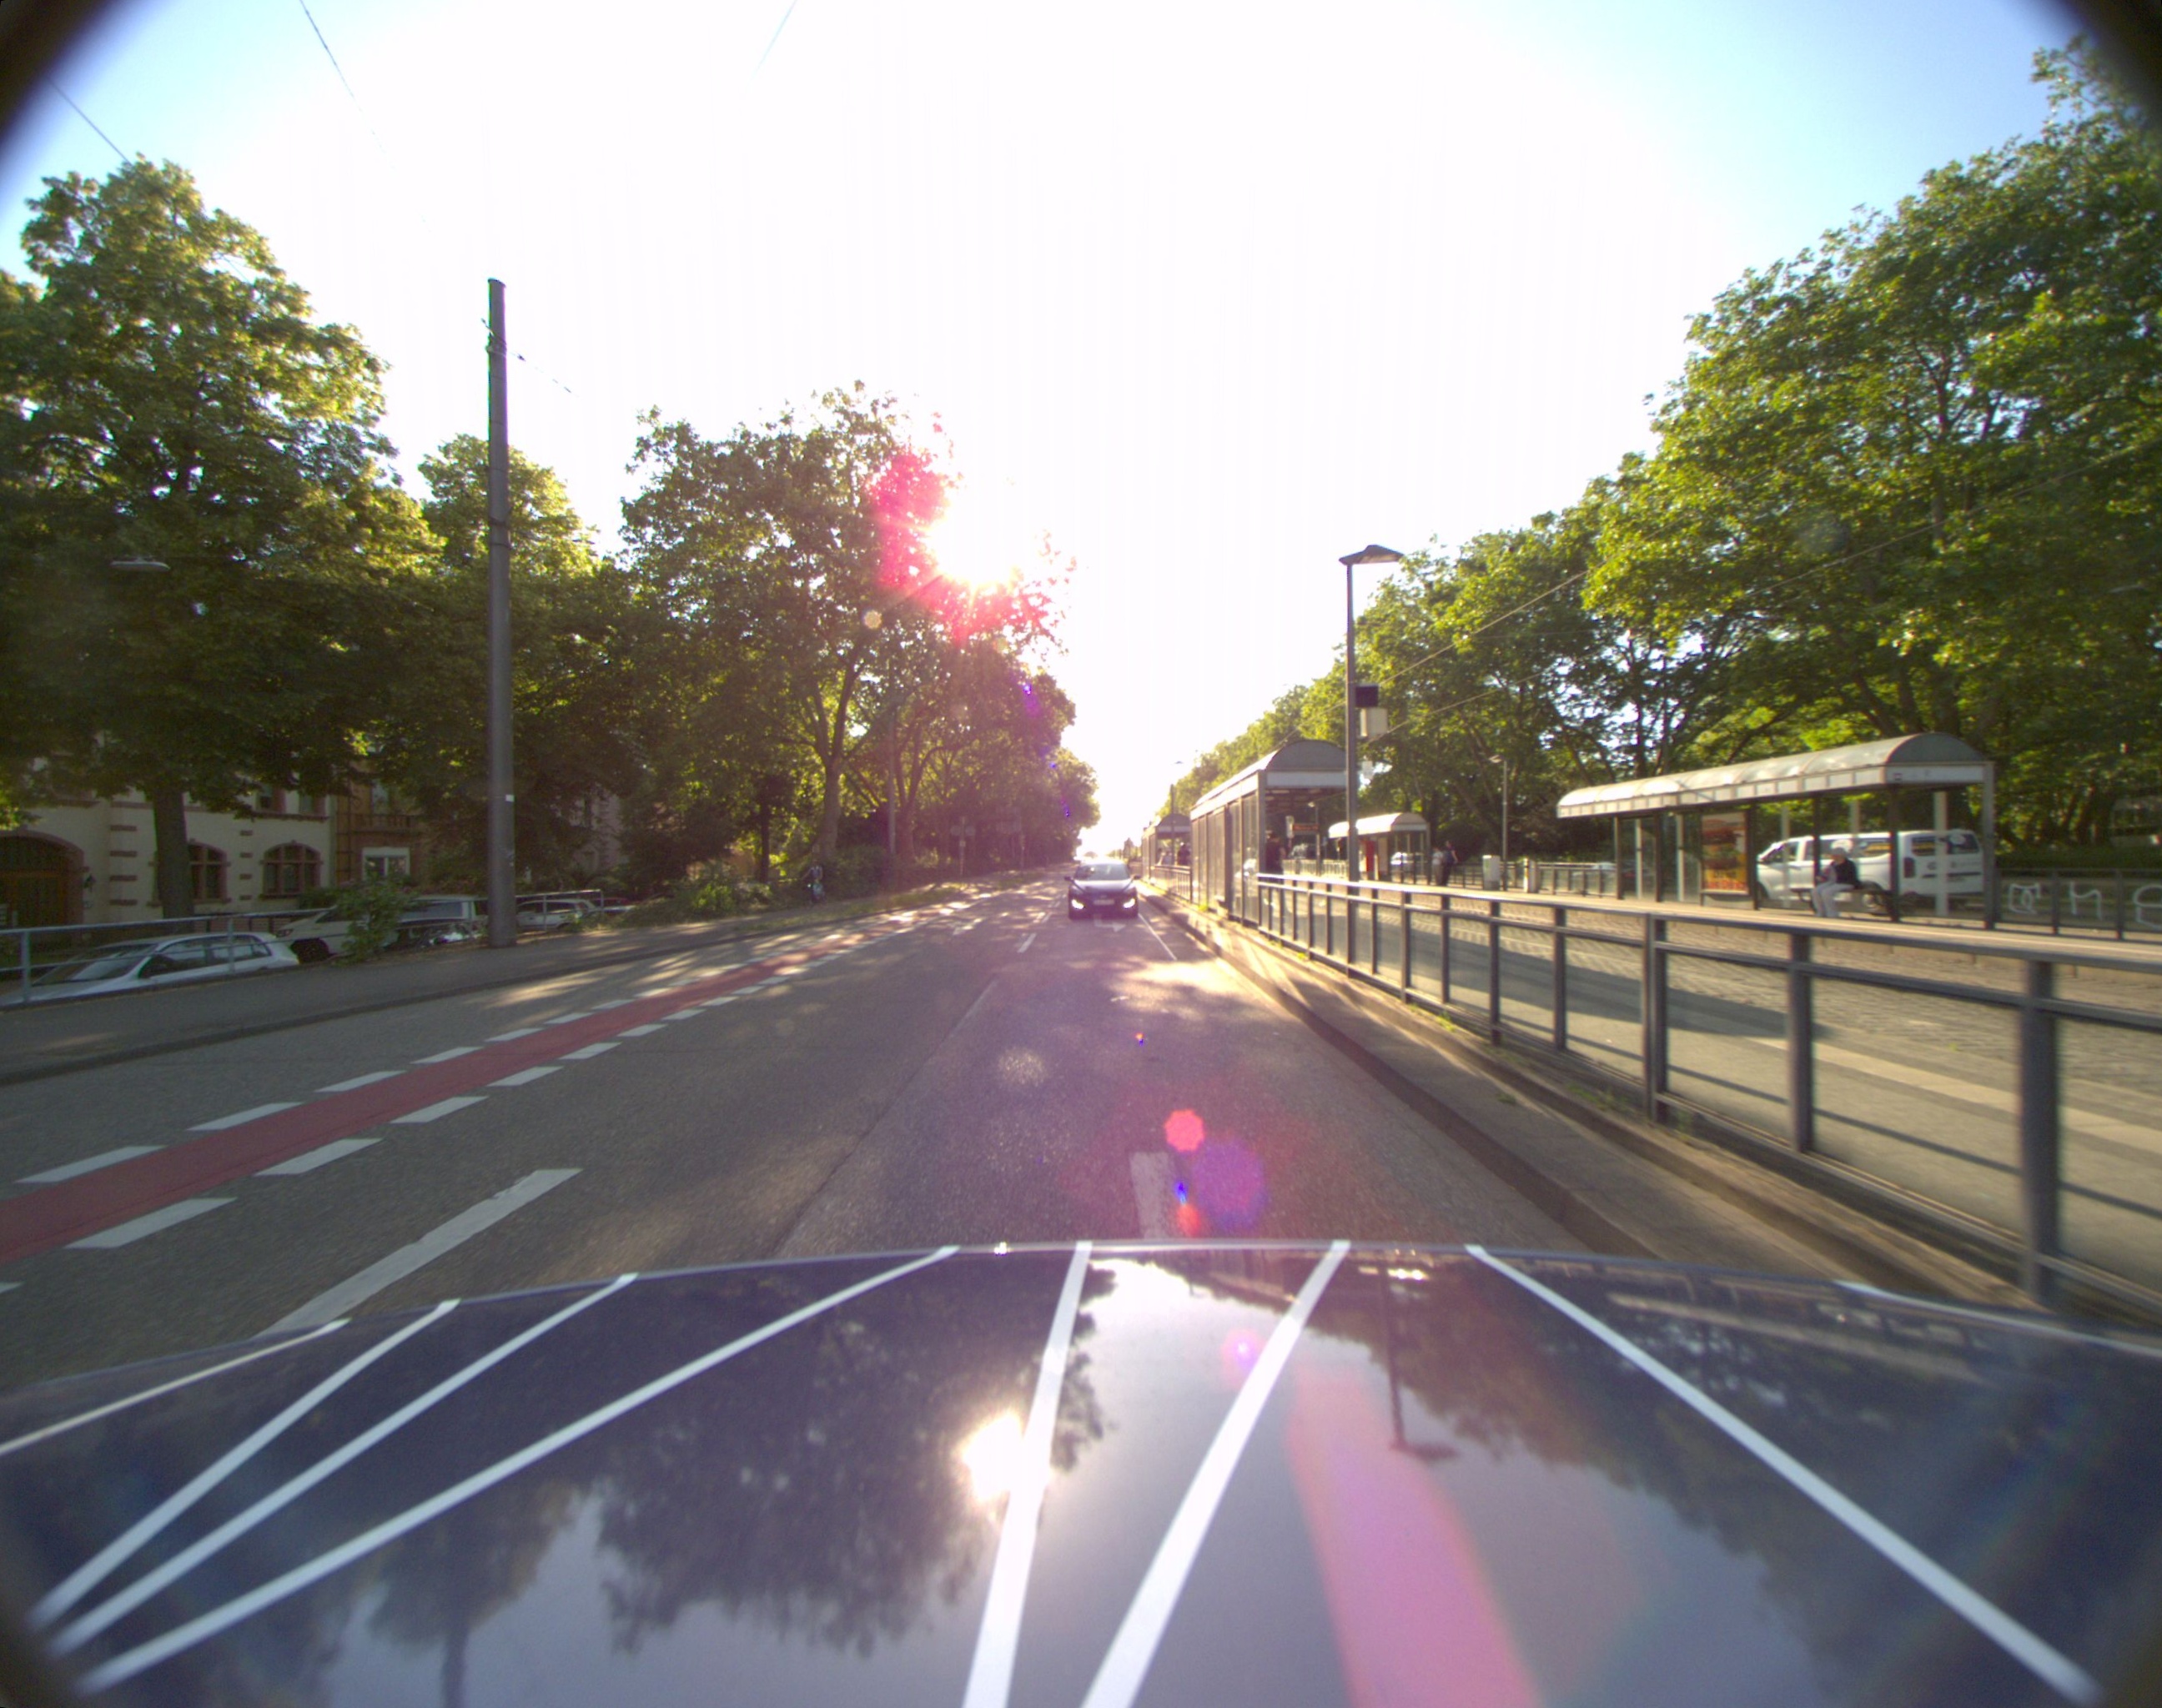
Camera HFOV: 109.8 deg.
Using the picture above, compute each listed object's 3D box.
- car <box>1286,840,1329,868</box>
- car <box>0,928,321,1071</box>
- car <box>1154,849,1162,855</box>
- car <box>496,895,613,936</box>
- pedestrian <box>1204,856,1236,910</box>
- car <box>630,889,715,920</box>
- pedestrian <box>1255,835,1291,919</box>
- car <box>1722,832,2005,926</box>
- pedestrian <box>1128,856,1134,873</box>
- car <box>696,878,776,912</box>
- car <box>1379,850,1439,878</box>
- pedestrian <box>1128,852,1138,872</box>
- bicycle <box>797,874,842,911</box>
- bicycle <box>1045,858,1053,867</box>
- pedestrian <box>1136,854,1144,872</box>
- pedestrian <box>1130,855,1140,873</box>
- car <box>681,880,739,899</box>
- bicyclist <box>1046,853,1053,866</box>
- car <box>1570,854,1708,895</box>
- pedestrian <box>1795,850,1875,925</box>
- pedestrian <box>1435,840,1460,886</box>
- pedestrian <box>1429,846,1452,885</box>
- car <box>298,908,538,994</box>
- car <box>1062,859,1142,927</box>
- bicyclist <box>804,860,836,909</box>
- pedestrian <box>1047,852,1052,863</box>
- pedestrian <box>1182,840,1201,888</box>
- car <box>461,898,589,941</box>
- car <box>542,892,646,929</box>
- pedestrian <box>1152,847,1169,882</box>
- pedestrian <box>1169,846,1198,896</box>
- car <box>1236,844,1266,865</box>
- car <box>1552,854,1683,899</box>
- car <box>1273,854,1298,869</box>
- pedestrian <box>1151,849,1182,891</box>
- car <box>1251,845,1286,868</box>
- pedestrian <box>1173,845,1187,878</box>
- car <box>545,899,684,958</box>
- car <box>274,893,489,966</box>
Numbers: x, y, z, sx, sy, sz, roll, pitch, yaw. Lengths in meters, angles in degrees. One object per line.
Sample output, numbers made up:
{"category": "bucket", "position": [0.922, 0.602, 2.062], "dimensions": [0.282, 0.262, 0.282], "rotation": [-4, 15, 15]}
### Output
{"category": "car", "position": [21.554, -0.044, 72.470], "dimensions": [2.189, 2.506, 6.031], "rotation": [1, 1, -1]}
{"category": "car", "position": [-14.256, 2.060, 11.527], "dimensions": [1.799, 1.433, 3.576], "rotation": [-2, 1, -1]}
{"category": "car", "position": [21.036, -0.527, 208.324], "dimensions": [1.734, 1.730, 3.899], "rotation": [1, 1, -1]}
{"category": "car", "position": [-22.488, 2.594, 32.663], "dimensions": [4.007, 1.501, 1.796], "rotation": [1, -1, -31]}
{"category": "pedestrian", "position": [3.425, 0.712, 18.763], "dimensions": [0.680, 1.301, 0.593], "rotation": [-2, 1, 2]}
{"category": "car", "position": [-22.262, 2.719, 41.458], "dimensions": [4.007, 1.501, 1.796], "rotation": [1, -1, -31]}
{"category": "pedestrian", "position": [3.885, 0.460, 15.391], "dimensions": [0.596, 1.668, 0.589], "rotation": [-1, 1, 6]}
{"category": "car", "position": [20.007, 0.532, 19.890], "dimensions": [2.072, 2.112, 5.089], "rotation": [1, 1, -1]}
{"category": "pedestrian", "position": [3.917, 0.806, 59.633], "dimensions": [0.417, 1.313, 0.359], "rotation": [1, 1, 1]}
{"category": "car", "position": [-21.675, 2.520, 47.749], "dimensions": [4.471, 2.002, 1.992], "rotation": [1, -1, -29]}
{"category": "car", "position": [20.668, 0.576, 48.002], "dimensions": [1.908, 1.642, 3.971], "rotation": [1, 1, -2]}
{"category": "pedestrian", "position": [4.161, 0.646, 60.757], "dimensions": [0.520, 1.559, 0.509], "rotation": [2, 1, 31]}
{"category": "bicycle", "position": [-8.301, 1.205, 24.172], "dimensions": [0.768, 1.101, 1.800], "rotation": [-1, 0, 0]}
{"category": "bicycle", "position": [-4.126, 1.118, 99.057], "dimensions": [0.700, 1.101, 1.931], "rotation": [-1, 0, 9]}
{"category": "pedestrian", "position": [4.685, 0.714, 60.259], "dimensions": [0.521, 1.464, 0.514], "rotation": [1, 1, 2]}
{"category": "pedestrian", "position": [4.172, 0.770, 59.035], "dimensions": [0.592, 1.398, 0.558], "rotation": [1, 1, -20]}
{"category": "car", "position": [-30.919, 2.934, 63.432], "dimensions": [3.995, 1.501, 1.801], "rotation": [0, -1, 6]}
{"category": "bicyclist", "position": [-4.133, 0.729, 99.054], "dimensions": [0.700, 1.718, 1.081], "rotation": [-1, 0, 9]}
{"category": "car", "position": [20.052, 0.681, 27.564], "dimensions": [1.774, 1.284, 4.314], "rotation": [1, 1, -1]}
{"category": "pedestrian", "position": [13.787, 0.603, 13.914], "dimensions": [0.671, 1.317, 0.757], "rotation": [2, 1, -1]}
{"category": "pedestrian", "position": [14.342, 0.359, 29.705], "dimensions": [0.649, 1.762, 0.650], "rotation": [-2, 1, 3]}
{"category": "pedestrian", "position": [14.402, 0.460, 30.469], "dimensions": [0.594, 1.535, 0.626], "rotation": [-2, 1, 1]}
{"category": "car", "position": [-14.419, 2.039, 16.895], "dimensions": [1.799, 1.301, 3.999], "rotation": [-2, 1, -1]}
{"category": "car", "position": [0.509, 0.911, 19.606], "dimensions": [1.799, 1.501, 4.000], "rotation": [-2, 0, 1]}
{"category": "bicyclist", "position": [-8.296, 0.959, 24.165], "dimensions": [0.768, 1.504, 0.650], "rotation": [-1, 1, 0]}
{"category": "pedestrian", "position": [-4.984, 0.552, 121.483], "dimensions": [0.649, 1.626, 0.928], "rotation": [2, 1, 2]}
{"category": "pedestrian", "position": [4.350, 0.395, 29.866], "dimensions": [0.652, 1.831, 0.711], "rotation": [-2, 1, 11]}
{"category": "car", "position": [-21.735, 2.540, 29.905], "dimensions": [3.933, 1.443, 1.685], "rotation": [1, -1, -33]}
{"category": "car", "position": [-22.811, 2.621, 35.744], "dimensions": [4.007, 1.501, 1.796], "rotation": [1, -1, -31]}
{"category": "pedestrian", "position": [3.870, 0.516, 37.040], "dimensions": [0.744, 1.684, 0.791], "rotation": [-2, 1, 1]}
{"category": "pedestrian", "position": [3.571, 0.592, 26.459], "dimensions": [0.654, 1.712, 0.708], "rotation": [-3, 1, -35]}
{"category": "car", "position": [21.277, 0.019, 95.449], "dimensions": [2.189, 2.506, 6.048], "rotation": [1, 1, -1]}
{"category": "car", "position": [20.203, 0.791, 28.876], "dimensions": [1.799, 1.501, 4.340], "rotation": [1, 1, -1]}
{"category": "car", "position": [21.744, 0.778, 80.889], "dimensions": [1.656, 1.504, 3.264], "rotation": [1, 1, -2]}
{"category": "pedestrian", "position": [3.406, 0.638, 30.327], "dimensions": [0.800, 1.624, 0.868], "rotation": [-2, 0, 39]}
{"category": "car", "position": [21.531, 0.261, 87.451], "dimensions": [2.189, 2.506, 6.269], "rotation": [1, 1, -2]}
{"category": "pedestrian", "position": [4.836, 0.362, 37.139], "dimensions": [0.589, 1.558, 0.650], "rotation": [-2, 1, 1]}
{"category": "car", "position": [-14.137, 2.200, 23.326], "dimensions": [1.799, 1.301, 3.999], "rotation": [-2, 1, -1]}
{"category": "car", "position": [-21.716, 2.280, 23.900], "dimensions": [4.691, 1.954, 1.868], "rotation": [1, -1, -31]}
